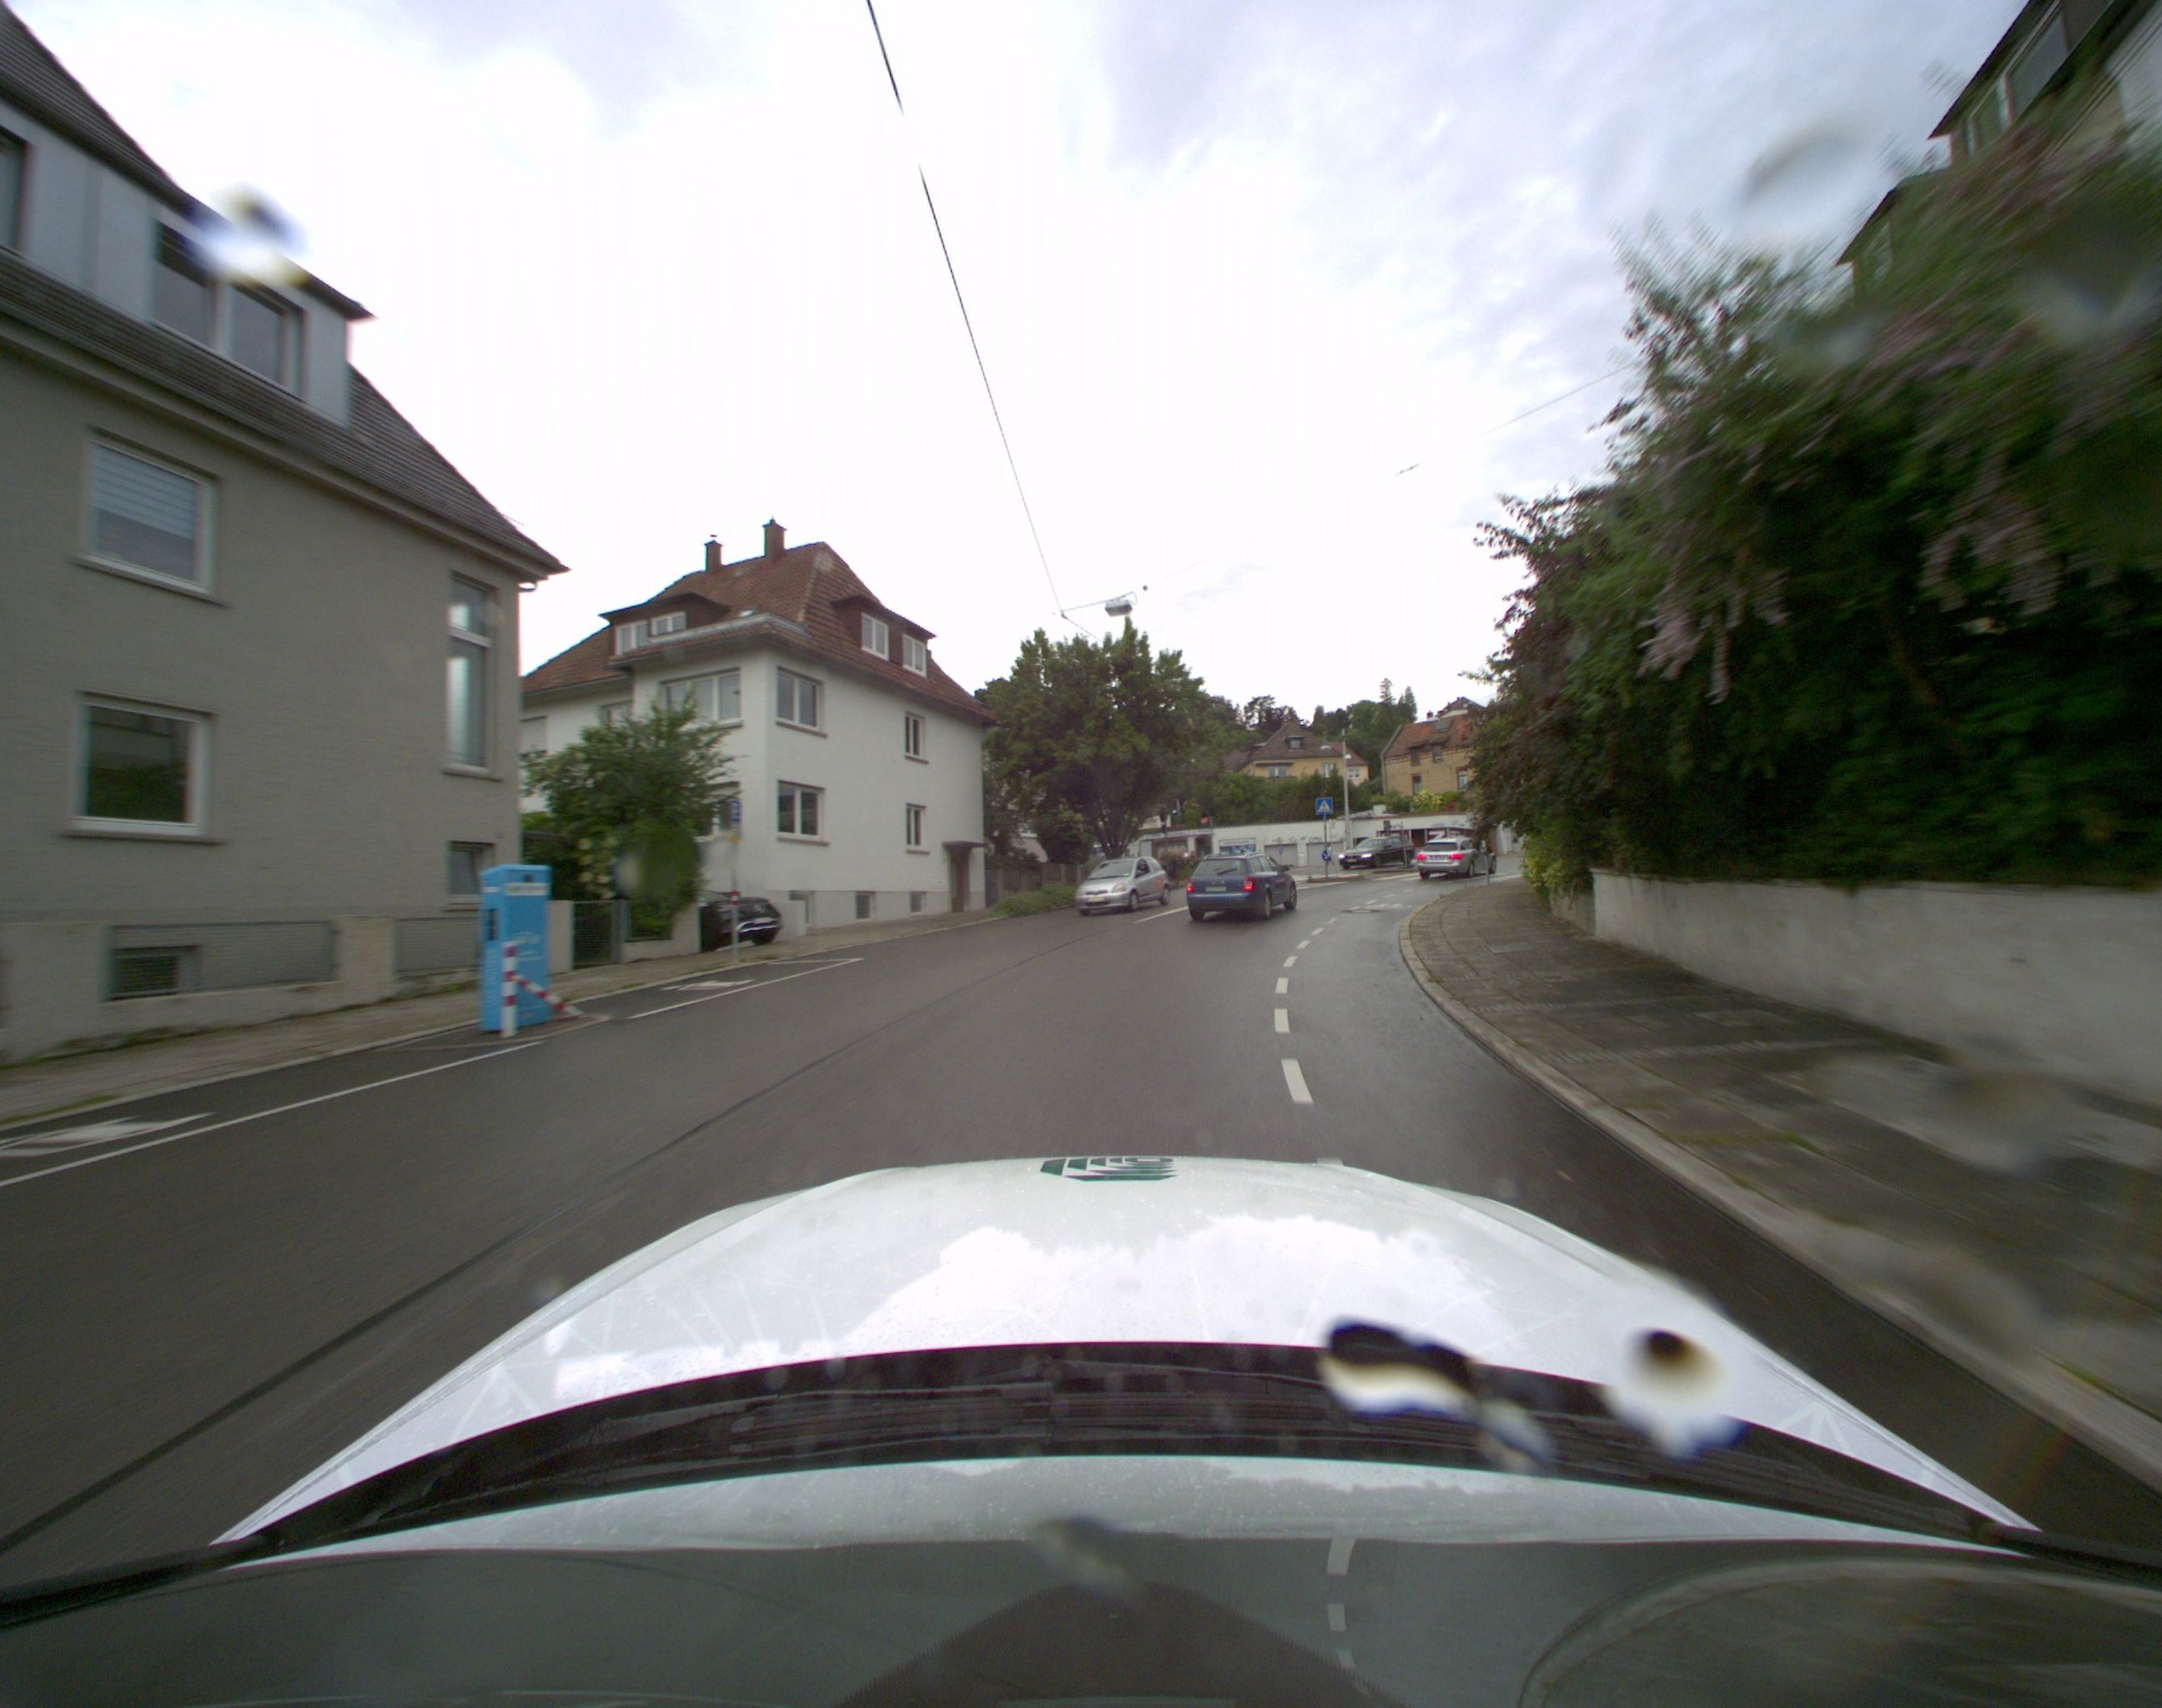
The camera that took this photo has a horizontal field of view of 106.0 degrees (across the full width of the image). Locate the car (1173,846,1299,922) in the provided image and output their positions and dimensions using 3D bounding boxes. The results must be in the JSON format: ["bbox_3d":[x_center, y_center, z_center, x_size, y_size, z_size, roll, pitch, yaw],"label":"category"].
[{"bbox_3d":[3.680,0.610,18.781,1.794,1.439,4.106,-1,1,26],"label":"car"}]

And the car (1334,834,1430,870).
[{"bbox_3d":[14.840,-0.111,40.094,4.653,1.492,1.857,-2,-4,-32],"label":"car"}]

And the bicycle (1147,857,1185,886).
[{"bbox_3d":[3.706,0.755,35.449,0.416,1.085,1.975,-3,2,45],"label":"bicycle"}]

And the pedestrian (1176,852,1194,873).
[{"bbox_3d":[7.773,0.610,61.095,0.966,1.505,0.896,-1,1,45],"label":"pedestrian"}]

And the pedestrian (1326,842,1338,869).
[{"bbox_3d":[17.494,0.103,56.719,0.698,1.805,0.813,-3,0,21],"label":"pedestrian"}]

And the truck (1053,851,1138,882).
[{"bbox_3d":[1.071,0.983,63.690,6.722,2.269,2.329,-1,0,41],"label":"truck"}]

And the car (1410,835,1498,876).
[{"bbox_3d":[13.812,0.042,30.051,1.794,1.360,4.025,-2,0,42],"label":"car"}]

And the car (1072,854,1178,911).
[{"bbox_3d":[1.350,0.770,23.396,1.473,1.423,3.880,-3,-1,28],"label":"car"}]

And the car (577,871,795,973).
[{"bbox_3d":[-8.960,1.528,18.508,4.203,1.623,2.011,-10,-4,22],"label":"car"}]
